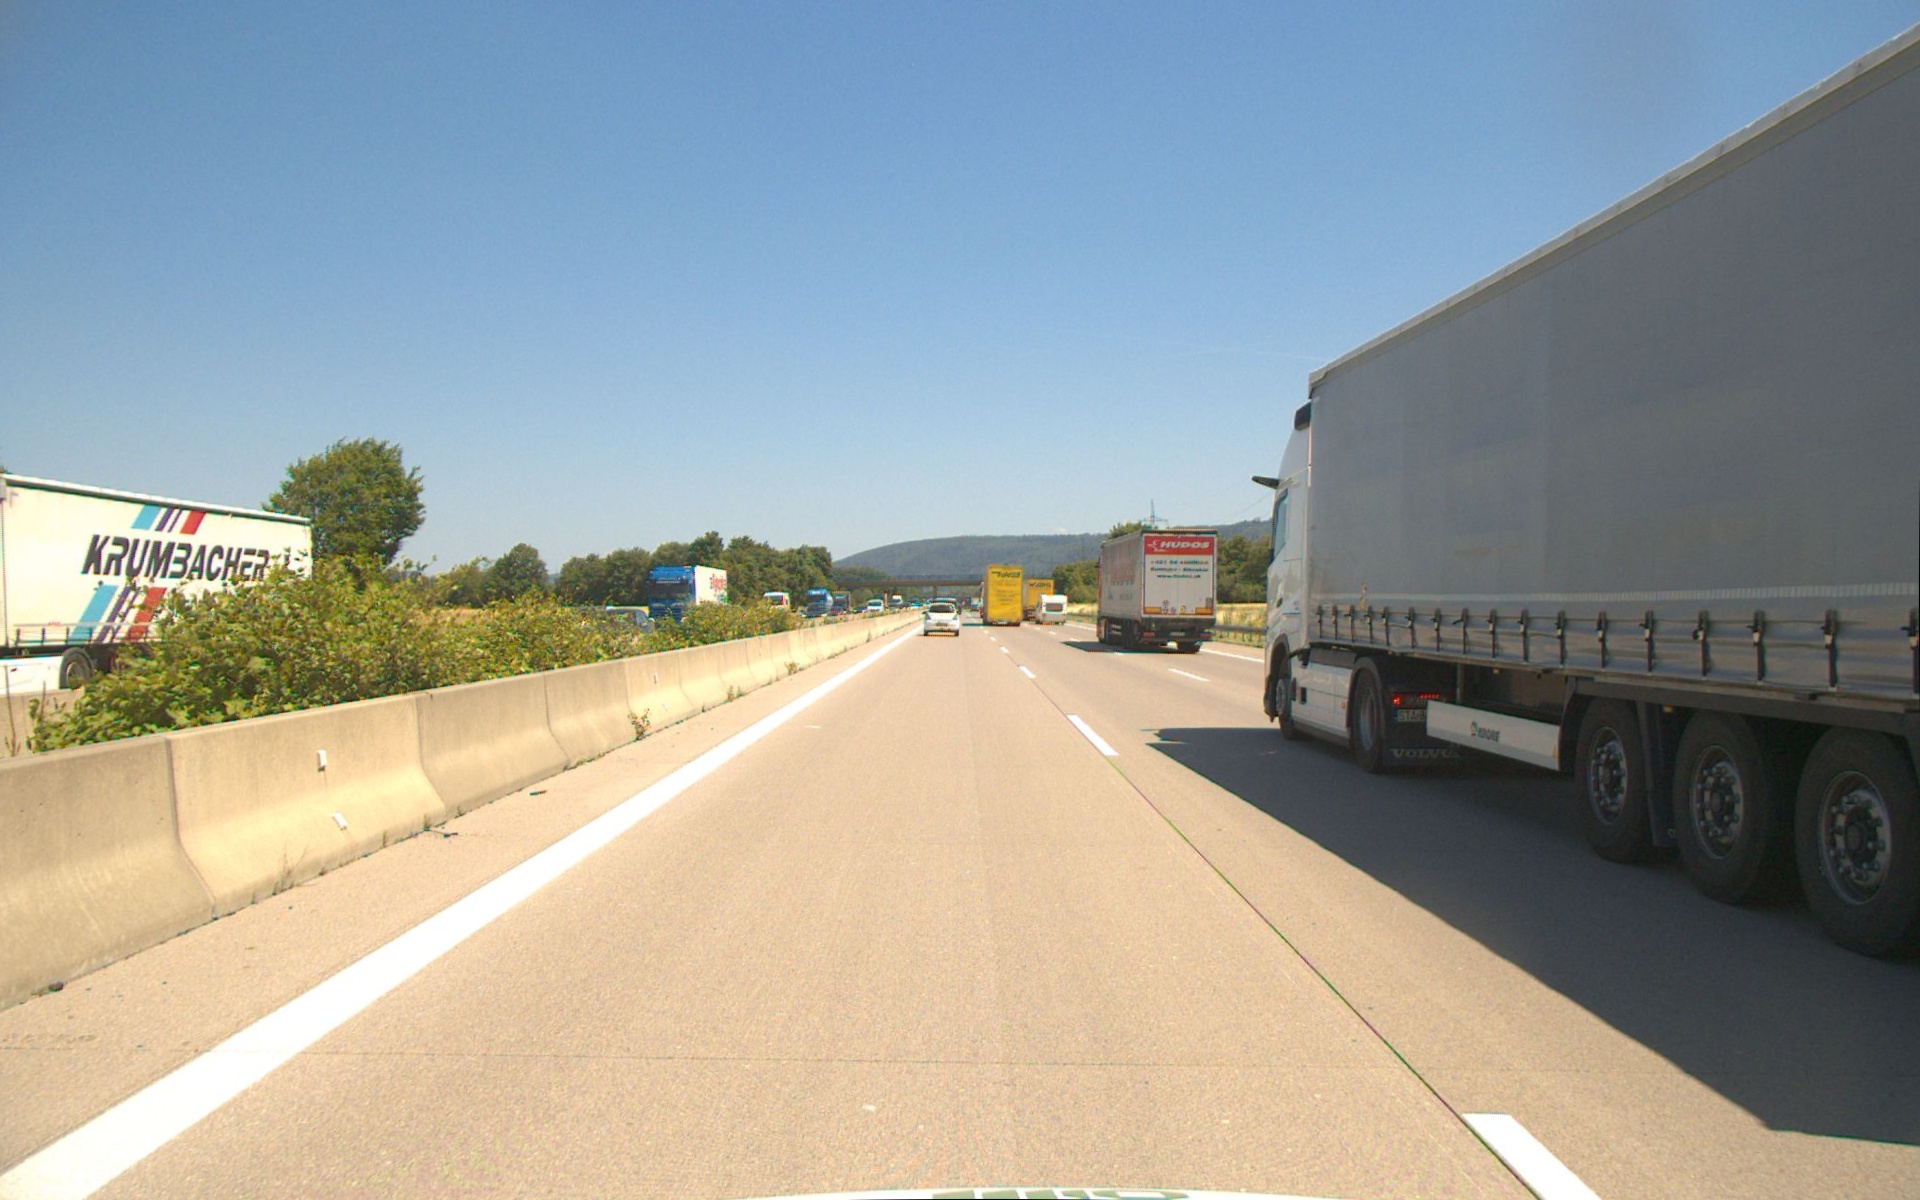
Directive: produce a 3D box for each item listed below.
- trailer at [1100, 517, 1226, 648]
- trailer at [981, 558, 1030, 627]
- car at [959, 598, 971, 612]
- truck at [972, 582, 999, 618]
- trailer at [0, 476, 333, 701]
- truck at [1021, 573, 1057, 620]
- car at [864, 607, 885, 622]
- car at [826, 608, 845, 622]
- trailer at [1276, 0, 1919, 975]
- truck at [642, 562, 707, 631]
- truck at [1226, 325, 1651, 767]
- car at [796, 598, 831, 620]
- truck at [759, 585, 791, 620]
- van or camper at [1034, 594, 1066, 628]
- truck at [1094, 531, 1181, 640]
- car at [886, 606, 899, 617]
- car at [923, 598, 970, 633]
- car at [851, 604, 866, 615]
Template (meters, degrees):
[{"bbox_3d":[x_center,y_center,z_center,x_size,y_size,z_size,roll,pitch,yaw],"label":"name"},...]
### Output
[{"bbox_3d":[7.172,-0.568,60.569,2.815,4.172,13.511,1,0,0],"label":"trailer"},{"bbox_3d":[3.216,-0.531,120.570,3.150,4.643,13.456,1,0,0],"label":"trailer"},{"bbox_3d":[0.732,0.722,235.236,1.747,1.914,4.000,1,0,0],"label":"car"},{"bbox_3d":[2.793,0.024,184.537,2.762,3.827,6.283,1,0,0],"label":"truck"},{"bbox_3d":[-17.384,-0.227,35.352,2.714,3.869,13.826,1,0,-1],"label":"trailer"},{"bbox_3d":[7.684,-0.295,161.221,2.937,4.390,9.683,1,0,0],"label":"truck"},{"bbox_3d":[-9.967,1.681,193.016,2.095,1.708,5.644,0,0,0],"label":"car"},{"bbox_3d":[-13.210,1.577,175.651,1.654,1.485,4.487,2,0,0],"label":"car"},{"bbox_3d":[5.275,-0.505,11.333,2.957,4.132,14.201,1,0,-2],"label":"trailer"},{"bbox_3d":[-16.937,-0.197,98.445,2.838,3.931,5.684,1,0,-1],"label":"truck"},{"bbox_3d":[5.017,-0.508,18.514,2.924,4.133,5.475,1,0,-2],"label":"truck"},{"bbox_3d":[-9.722,0.598,110.135,1.860,1.349,5.068,1,0,-1],"label":"car"},{"bbox_3d":[-17.482,0.249,156.669,2.275,3.138,6.977,1,0,0],"label":"truck"},{"bbox_3d":[7.160,0.864,131.759,2.179,2.575,5.430,1,0,0],"label":"van or camper"},{"bbox_3d":[7.132,-0.567,67.187,2.846,4.172,6.272,1,0,1],"label":"truck"},{"bbox_3d":[-9.267,1.566,227.287,1.743,1.372,4.451,3,0,-2],"label":"car"},{"bbox_3d":[-0.625,0.717,78.212,2.063,1.563,4.122,1,0,1],"label":"car"},{"bbox_3d":[-13.943,1.322,227.511,1.684,1.473,4.707,1,0,-1],"label":"car"}]
